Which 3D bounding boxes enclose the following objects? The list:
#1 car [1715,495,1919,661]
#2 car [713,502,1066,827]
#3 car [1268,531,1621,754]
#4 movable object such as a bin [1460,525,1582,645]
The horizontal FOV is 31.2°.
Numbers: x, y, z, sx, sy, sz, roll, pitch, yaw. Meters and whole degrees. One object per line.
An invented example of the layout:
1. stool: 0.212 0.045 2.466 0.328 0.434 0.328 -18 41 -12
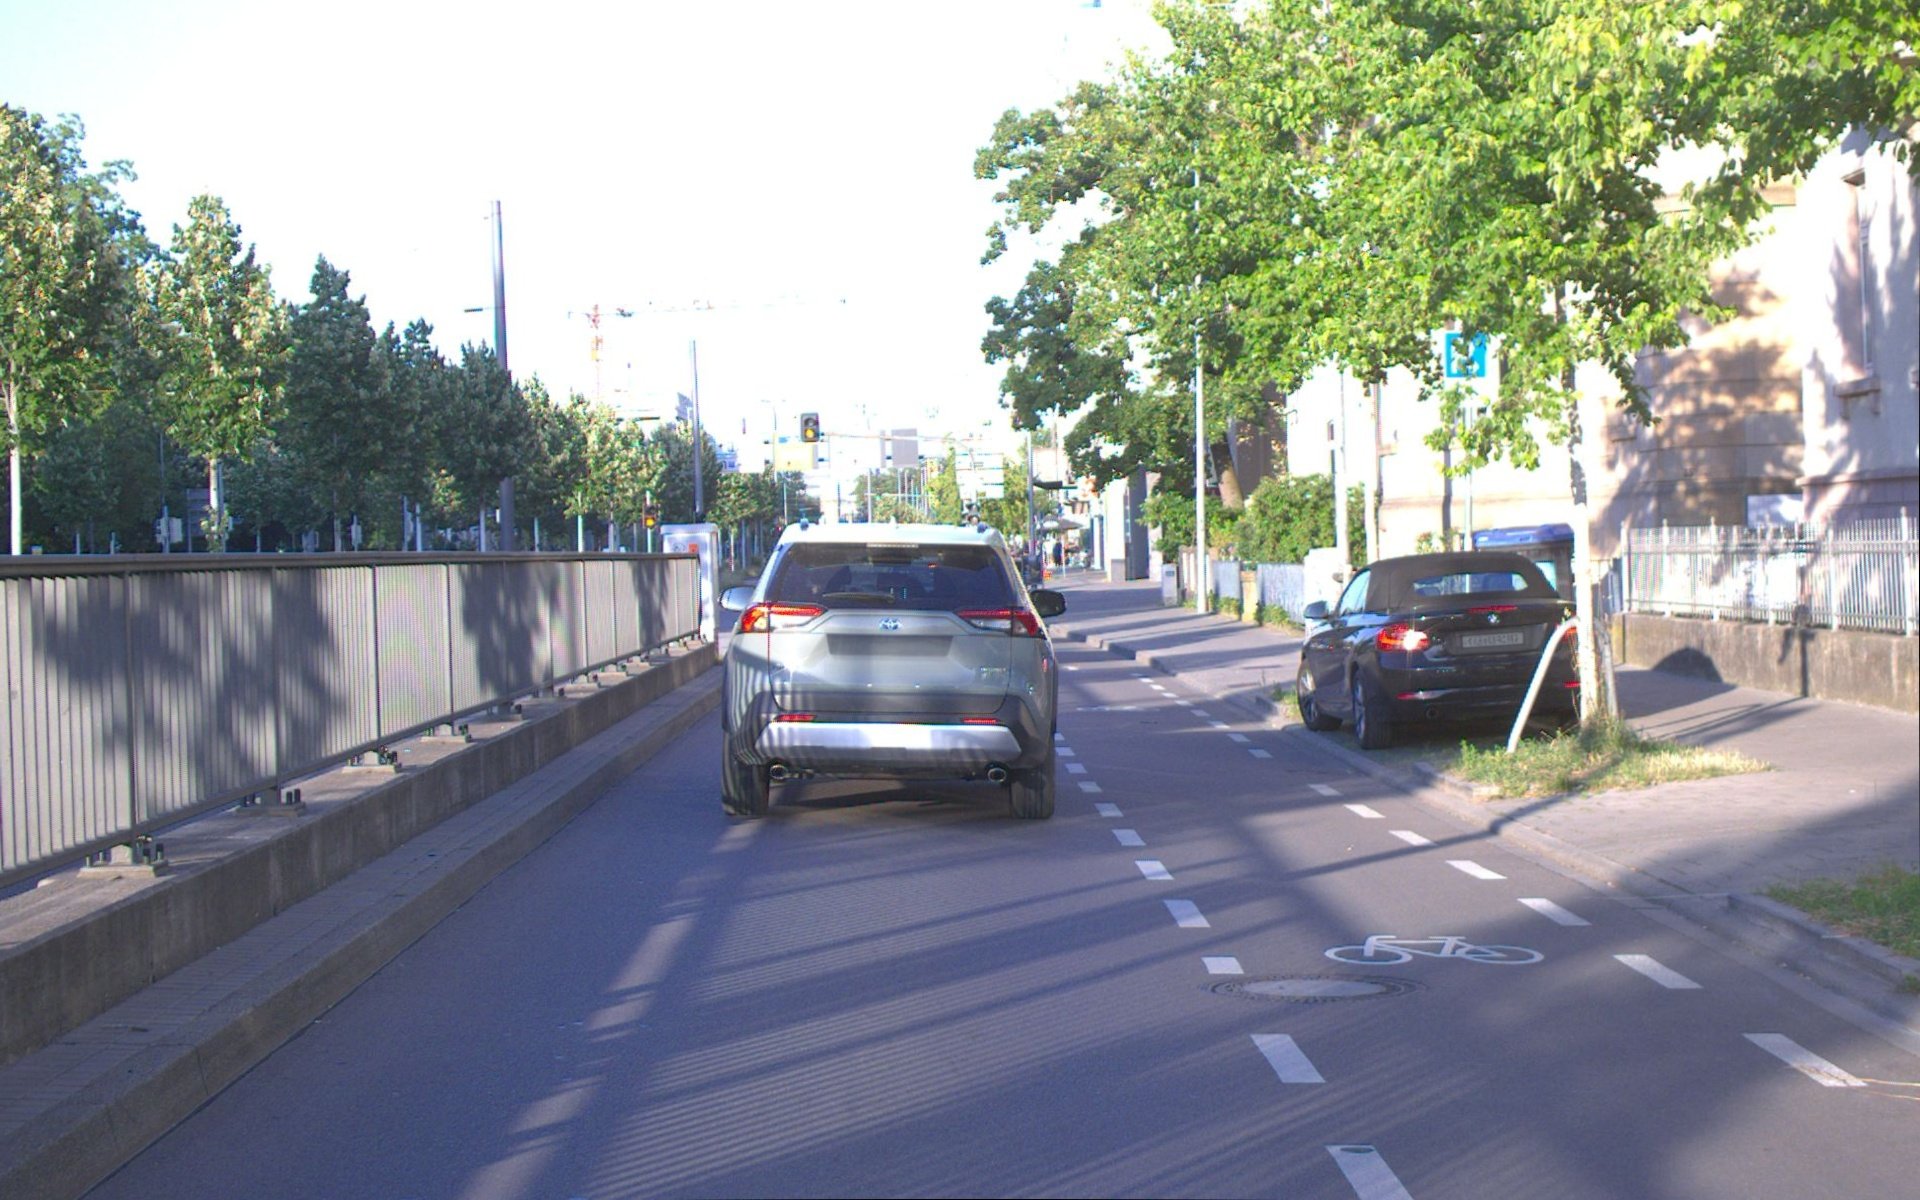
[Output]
1. car: 10.368 -0.338 36.529 4.195 1.565 1.916 -5 1 2
2. car: -0.457 0.317 20.298 1.857 1.708 4.193 0 1 -2
3. car: 3.660 0.265 26.750 1.792 1.466 4.446 -4 1 -3
4. movable object such as a bin: 6.952 -0.193 42.652 1.260 1.457 1.124 -1 1 -3
